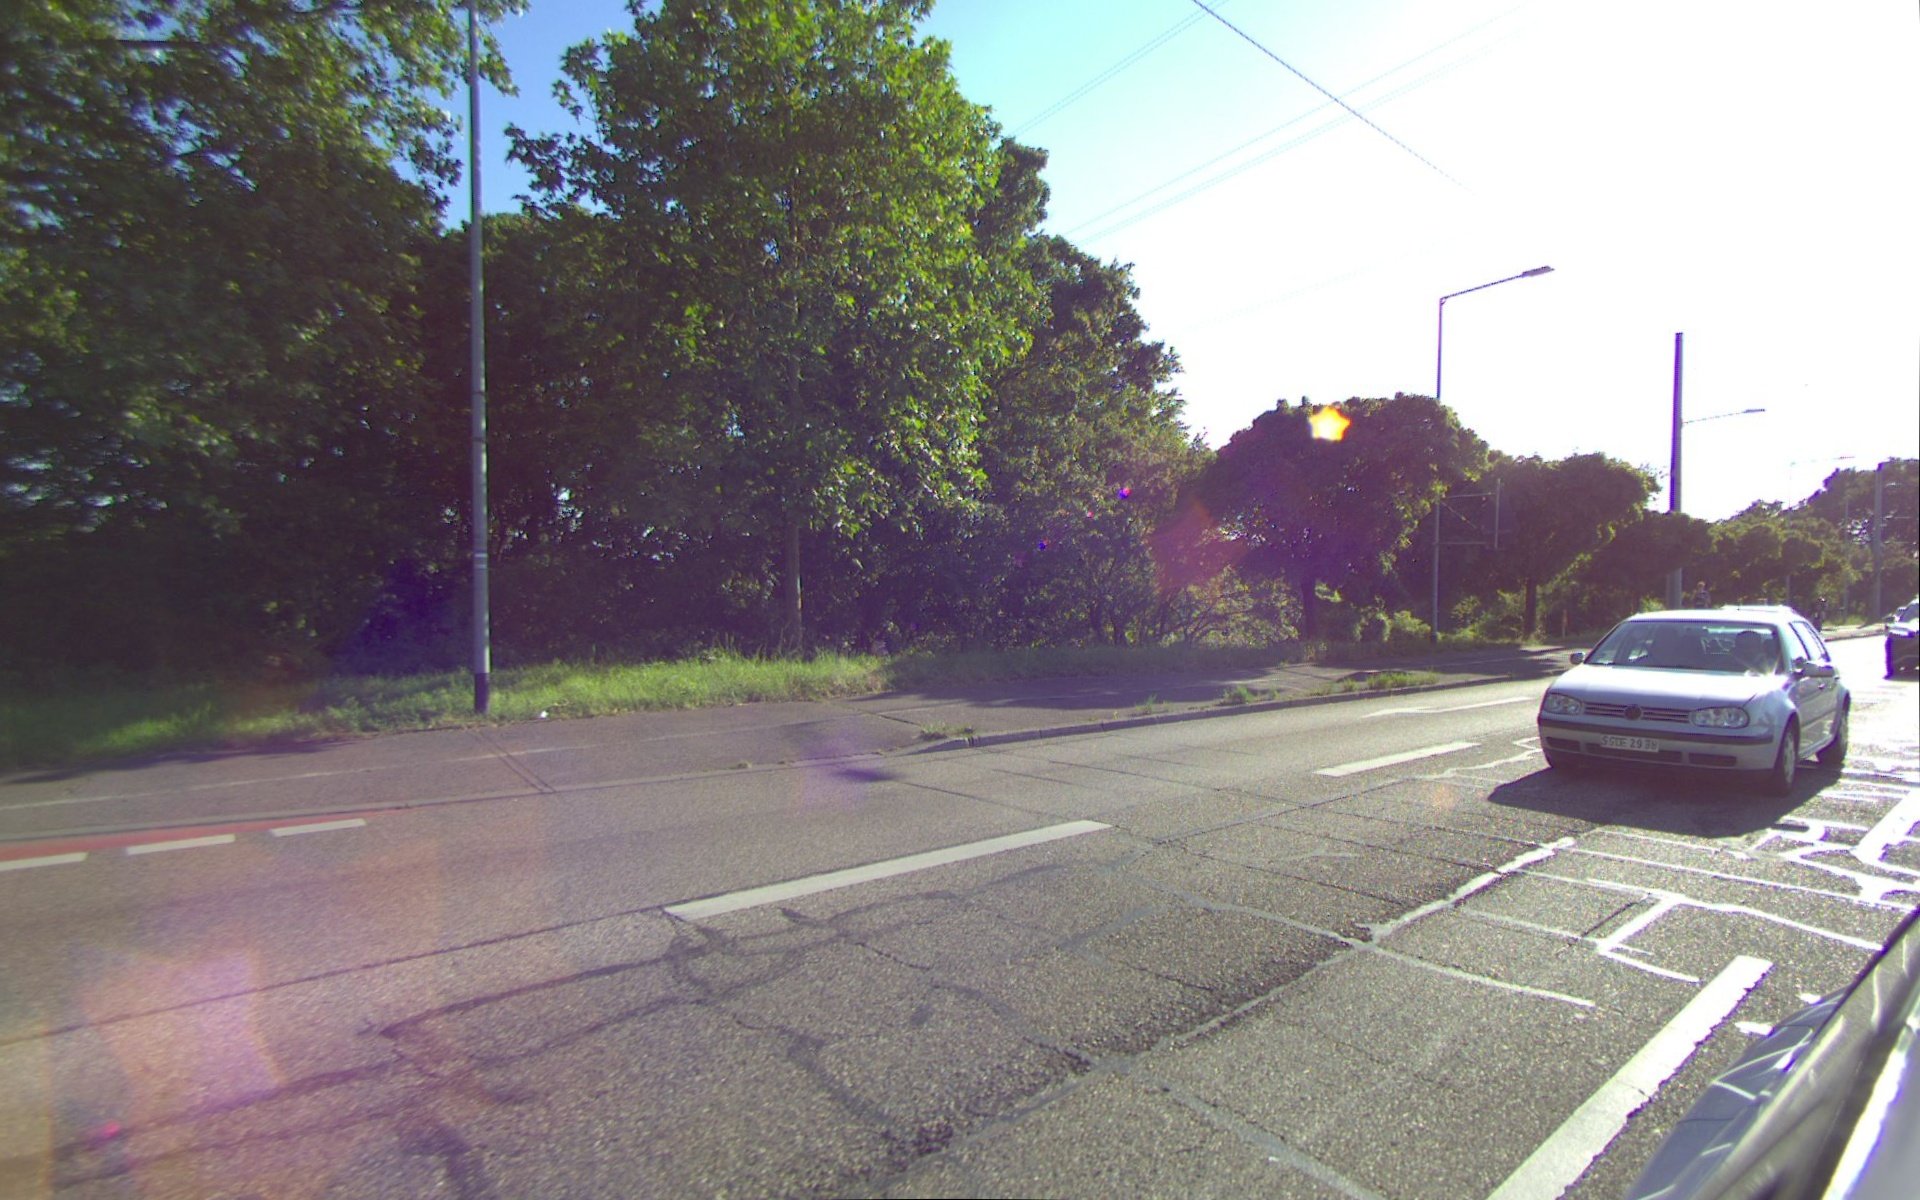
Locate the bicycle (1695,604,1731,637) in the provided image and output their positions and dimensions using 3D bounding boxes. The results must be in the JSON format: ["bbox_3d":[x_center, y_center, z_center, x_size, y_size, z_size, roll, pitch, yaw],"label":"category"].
[{"bbox_3d":[25.631,0.671,34.441,1.936,1.074,0.528,0,-1,-40],"label":"bicycle"}]

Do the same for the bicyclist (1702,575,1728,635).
[{"bbox_3d":[25.861,0.167,34.643,0.716,2.043,0.528,0,-1,-39],"label":"bicyclist"}]

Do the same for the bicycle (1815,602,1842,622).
[{"bbox_3d":[40.342,0.546,46.991,1.605,0.844,0.629,0,5,-39],"label":"bicycle"}]

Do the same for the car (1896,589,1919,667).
[{"bbox_3d":[22.013,0.574,22.006,4.338,1.620,1.881,0,1,-39],"label":"car"}]

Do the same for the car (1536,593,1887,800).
[{"bbox_3d":[6.924,0.678,9.186,3.930,1.463,1.694,0,1,-40],"label":"car"}]

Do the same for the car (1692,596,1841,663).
[{"bbox_3d":[19.859,0.642,24.860,4.575,1.461,1.881,0,1,-38],"label":"car"}]

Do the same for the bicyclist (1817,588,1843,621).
[{"bbox_3d":[40.435,0.214,47.033,1.041,1.488,0.628,0,4,-40],"label":"bicyclist"}]
